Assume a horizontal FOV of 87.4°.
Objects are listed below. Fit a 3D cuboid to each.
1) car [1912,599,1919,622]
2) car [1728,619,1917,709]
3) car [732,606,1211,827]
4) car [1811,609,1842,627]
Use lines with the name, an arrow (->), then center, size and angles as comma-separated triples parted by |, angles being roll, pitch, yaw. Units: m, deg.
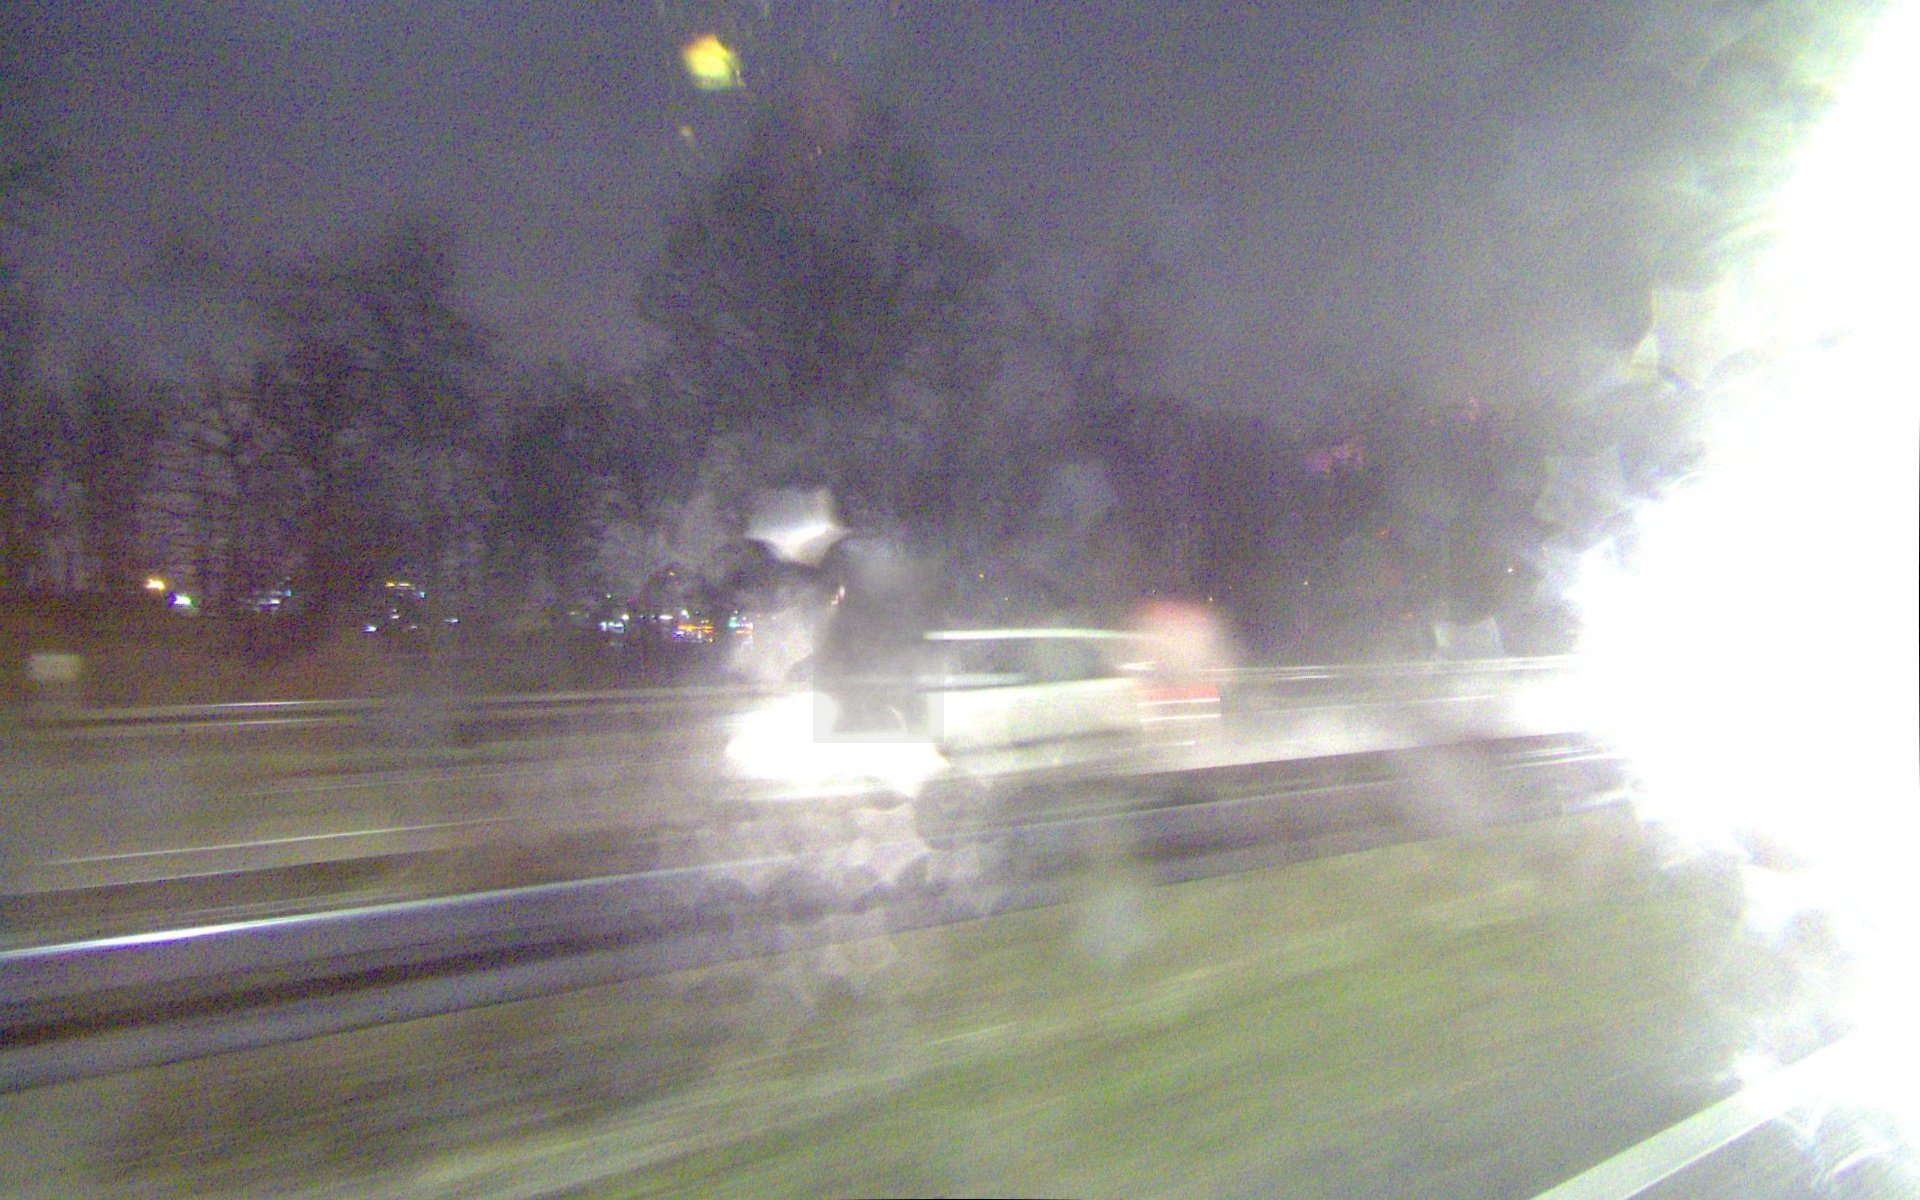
car -> 83.621, 0.915, 85.758 | 1.961, 2.040, 3.999 | 1, 0, 21
car -> 17.139, 1.239, 19.920 | 3.959, 1.588, 1.798 | 0, -5, -34
car -> 0.219, 0.910, 8.958 | 4.119, 1.562, 1.558 | 1, -4, -35
car -> 90.955, 1.895, 105.467 | 1.966, 1.709, 3.988 | 3, 3, 34
